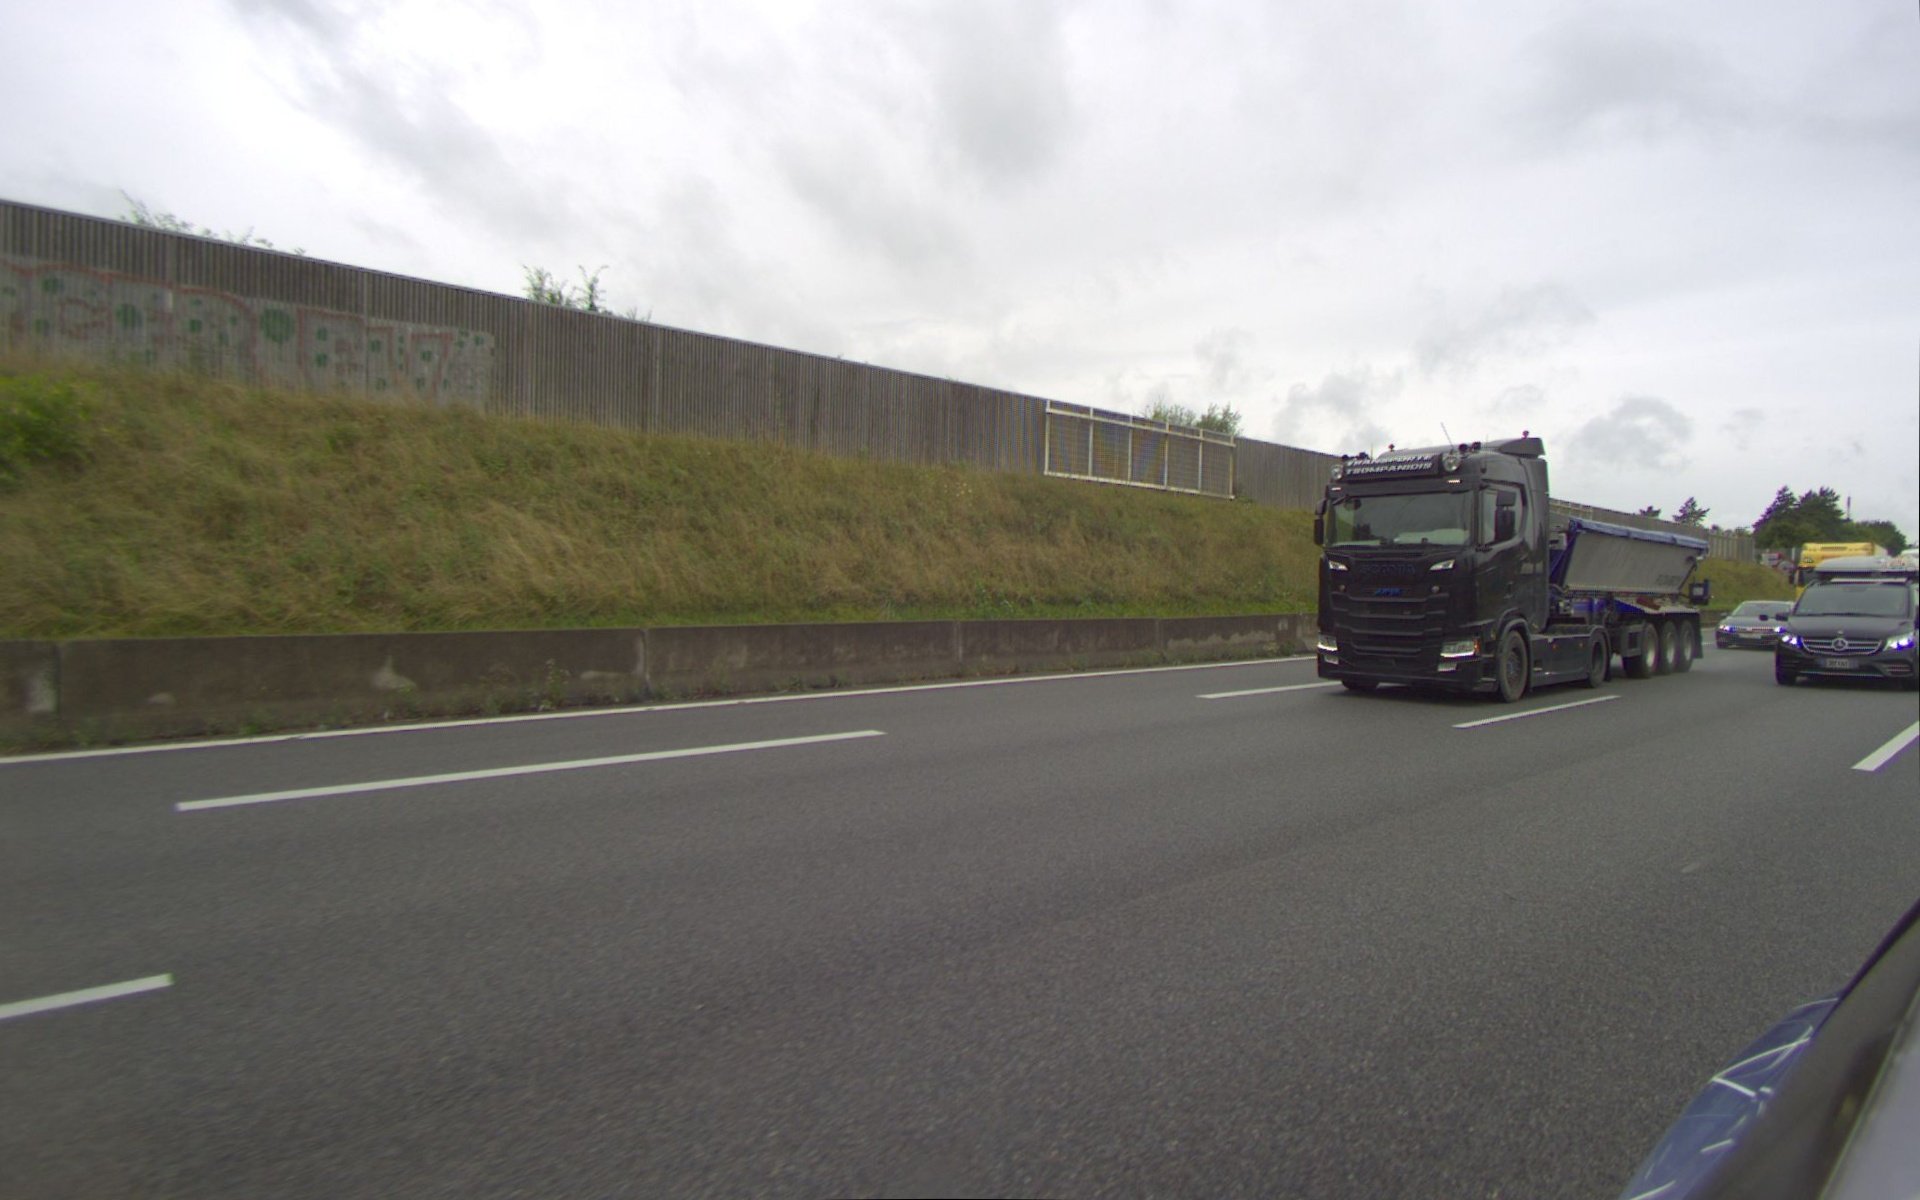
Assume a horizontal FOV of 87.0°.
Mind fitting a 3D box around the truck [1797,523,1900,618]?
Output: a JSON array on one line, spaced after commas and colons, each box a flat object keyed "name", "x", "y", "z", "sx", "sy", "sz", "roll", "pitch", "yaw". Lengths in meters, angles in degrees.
[{"name": "truck", "x": 41.131, "y": -1.274, "z": 46.731, "sx": 9.169, "sy": 4.008, "sz": 2.688, "roll": -1, "pitch": 0, "yaw": -43}]

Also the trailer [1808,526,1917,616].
[{"name": "trailer", "x": 46.233, "y": -1.356, "z": 51.555, "sx": 16.405, "sy": 4.003, "sz": 2.653, "roll": -1, "pitch": 0, "yaw": -43}]

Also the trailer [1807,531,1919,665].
[{"name": "trailer", "x": 21.668, "y": -0.051, "z": 22.837, "sx": 7.379, "sy": 2.675, "sz": 2.726, "roll": 0, "pitch": 1, "yaw": -41}]

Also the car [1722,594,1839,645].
[{"name": "car", "x": 24.985, "y": 0.546, "z": 30.743, "sx": 5.197, "sy": 1.445, "sz": 1.942, "roll": 0, "pitch": 0, "yaw": -42}]

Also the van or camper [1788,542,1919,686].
[{"name": "van or camper", "x": 16.909, "y": 0.227, "z": 18.529, "sx": 5.581, "sy": 2.298, "sz": 1.893, "roll": 0, "pitch": 0, "yaw": -42}]

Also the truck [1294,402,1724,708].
[{"name": "truck", "x": 10.669, "y": -0.679, "z": 18.448, "sx": 12.495, "sy": 3.999, "sz": 2.817, "roll": -1, "pitch": 2, "yaw": -42}]
